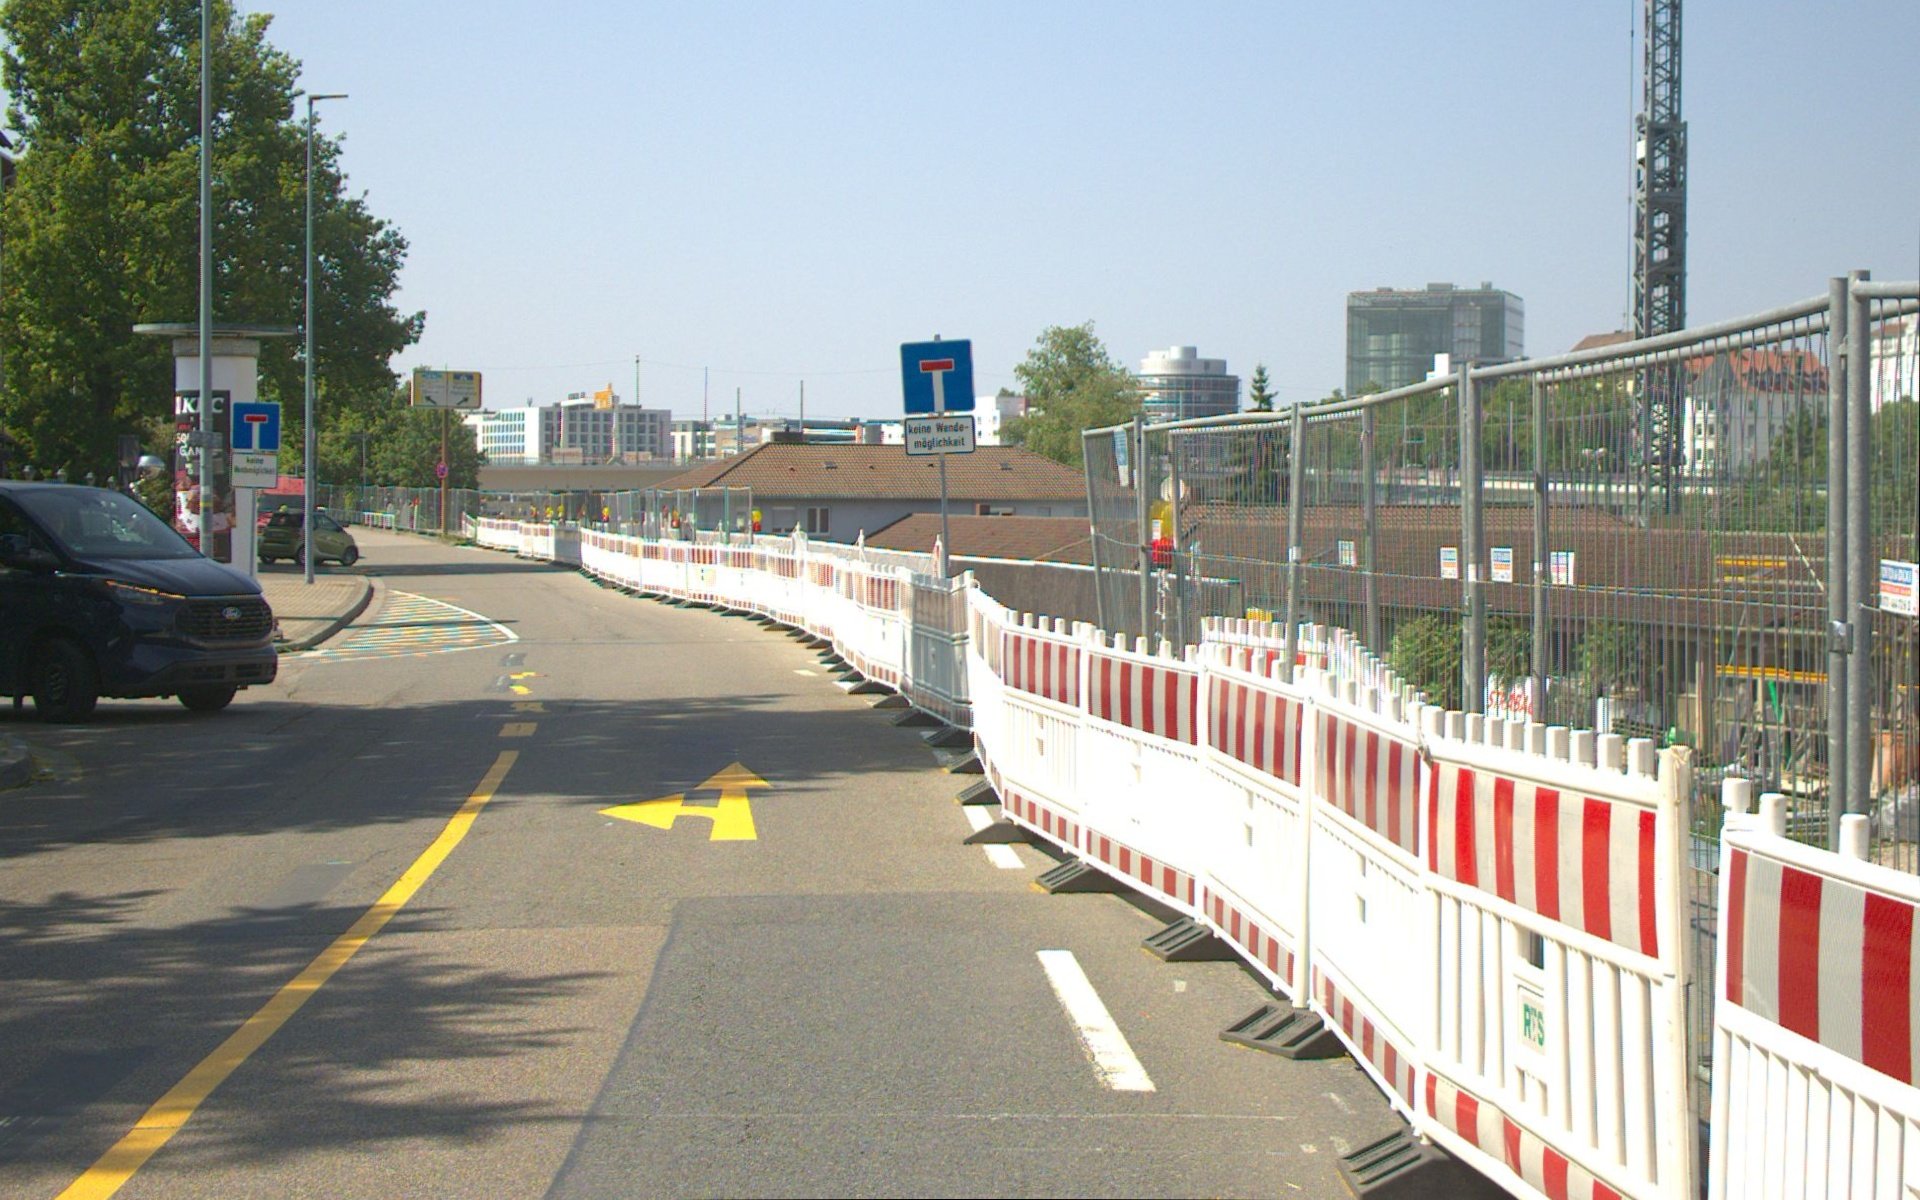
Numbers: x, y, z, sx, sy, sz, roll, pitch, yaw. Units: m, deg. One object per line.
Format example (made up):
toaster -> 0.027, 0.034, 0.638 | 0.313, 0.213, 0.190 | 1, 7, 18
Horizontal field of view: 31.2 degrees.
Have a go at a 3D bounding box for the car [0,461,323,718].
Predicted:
car -> -8.187, -0.088, 28.402 | 5.433, 1.961, 2.181 | -1, 2, 24

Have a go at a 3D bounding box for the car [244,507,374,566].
car -> -18.658, -1.827, 98.616 | 1.725, 1.632, 3.273 | 1, 1, 41
